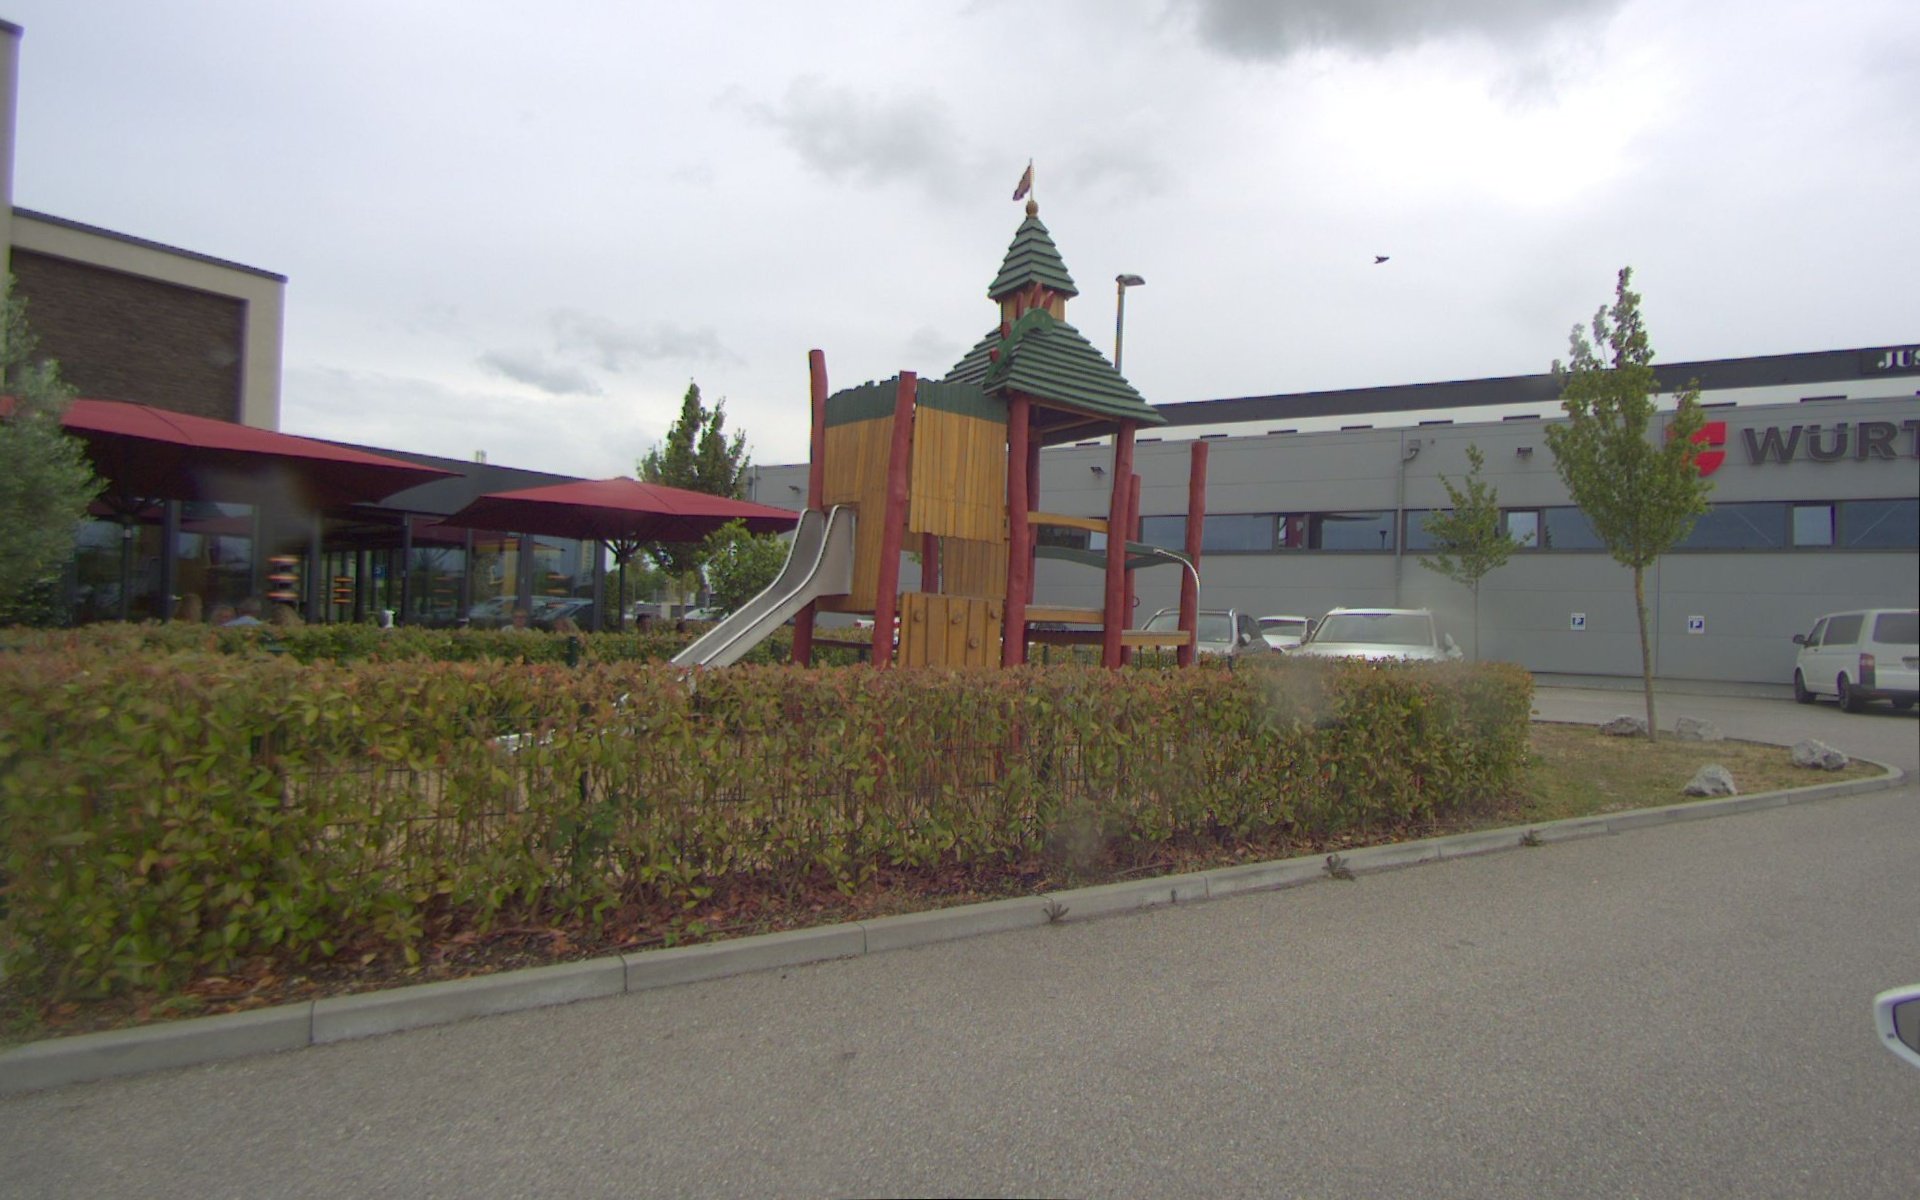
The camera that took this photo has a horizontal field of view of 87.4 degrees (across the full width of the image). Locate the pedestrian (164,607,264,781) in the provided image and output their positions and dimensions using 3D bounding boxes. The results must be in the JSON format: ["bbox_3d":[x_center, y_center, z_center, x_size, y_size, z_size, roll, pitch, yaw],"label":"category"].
[{"bbox_3d":[-7.944,0.975,10.734,0.695,1.771,0.737,2,-2,-28],"label":"pedestrian"}]

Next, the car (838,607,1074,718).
[{"bbox_3d":[0.094,1.047,17.603,1.966,1.672,4.566,-1,-3,33],"label":"car"}]

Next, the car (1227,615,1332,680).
[{"bbox_3d":[8.462,1.241,26.390,1.712,1.572,4.255,-1,-3,31],"label":"car"}]

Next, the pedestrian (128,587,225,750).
[{"bbox_3d":[-8.922,0.769,11.463,0.695,1.771,0.737,2,-2,-28],"label":"pedestrian"}]

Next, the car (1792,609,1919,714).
[{"bbox_3d":[18.198,1.191,19.828,2.025,1.879,4.055,-1,-3,30],"label":"car"}]

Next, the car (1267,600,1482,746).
[{"bbox_3d":[5.931,0.946,14.027,1.966,1.672,4.566,-1,-3,33],"label":"car"}]

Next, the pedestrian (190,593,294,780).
[{"bbox_3d":[-7.122,0.837,9.998,0.695,1.771,0.737,2,-2,-28],"label":"pedestrian"}]

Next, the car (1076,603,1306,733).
[{"bbox_3d":[3.683,0.983,15.348,1.966,1.672,4.566,-1,-3,33],"label":"car"}]

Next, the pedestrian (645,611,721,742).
[{"bbox_3d":[-3.871,1.055,14.066,0.731,1.771,0.701,-1,-3,36],"label":"pedestrian"}]

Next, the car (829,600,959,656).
[{"bbox_3d":[-1.989,0.933,31.979,1.963,1.660,4.800,-1,-3,27],"label":"car"}]

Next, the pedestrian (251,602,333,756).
[{"bbox_3d":[-7.996,0.932,12.060,0.695,1.771,0.737,2,-2,-28],"label":"pedestrian"}]

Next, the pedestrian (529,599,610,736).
[{"bbox_3d":[-5.257,0.897,13.520,0.731,1.771,0.701,-1,-3,36],"label":"pedestrian"}]
